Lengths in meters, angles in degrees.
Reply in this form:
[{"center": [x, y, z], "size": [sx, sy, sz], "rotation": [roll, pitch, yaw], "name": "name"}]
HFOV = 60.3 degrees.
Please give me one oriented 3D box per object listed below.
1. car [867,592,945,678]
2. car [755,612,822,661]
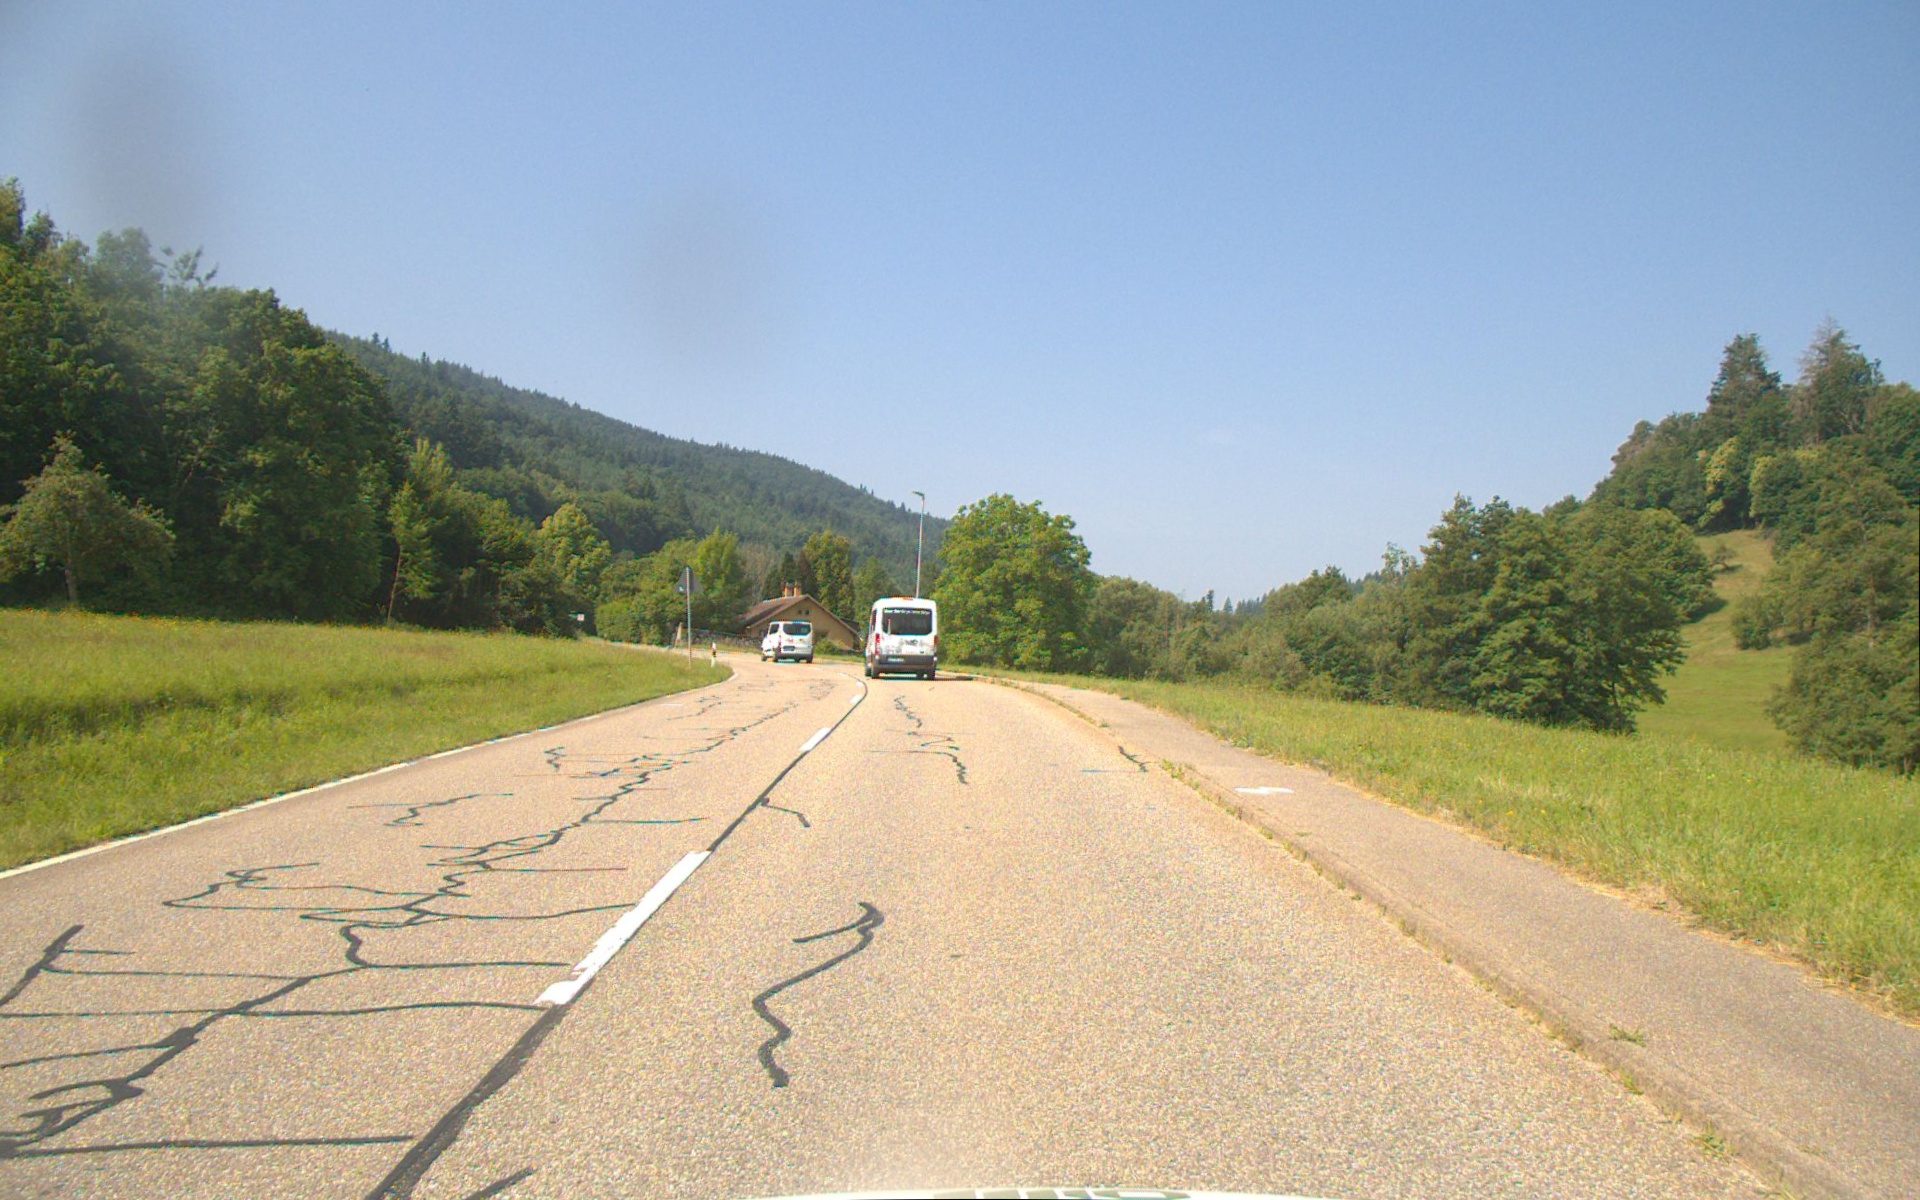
[{"center": [-1.778, 1.125, 52.608], "size": [2.179, 2.570, 4.979], "rotation": [-1, -1, -5], "name": "car"}, {"center": [-8.610, 1.836, 82.651], "size": [2.189, 2.327, 4.956], "rotation": [-1, -1, -19], "name": "car"}]
